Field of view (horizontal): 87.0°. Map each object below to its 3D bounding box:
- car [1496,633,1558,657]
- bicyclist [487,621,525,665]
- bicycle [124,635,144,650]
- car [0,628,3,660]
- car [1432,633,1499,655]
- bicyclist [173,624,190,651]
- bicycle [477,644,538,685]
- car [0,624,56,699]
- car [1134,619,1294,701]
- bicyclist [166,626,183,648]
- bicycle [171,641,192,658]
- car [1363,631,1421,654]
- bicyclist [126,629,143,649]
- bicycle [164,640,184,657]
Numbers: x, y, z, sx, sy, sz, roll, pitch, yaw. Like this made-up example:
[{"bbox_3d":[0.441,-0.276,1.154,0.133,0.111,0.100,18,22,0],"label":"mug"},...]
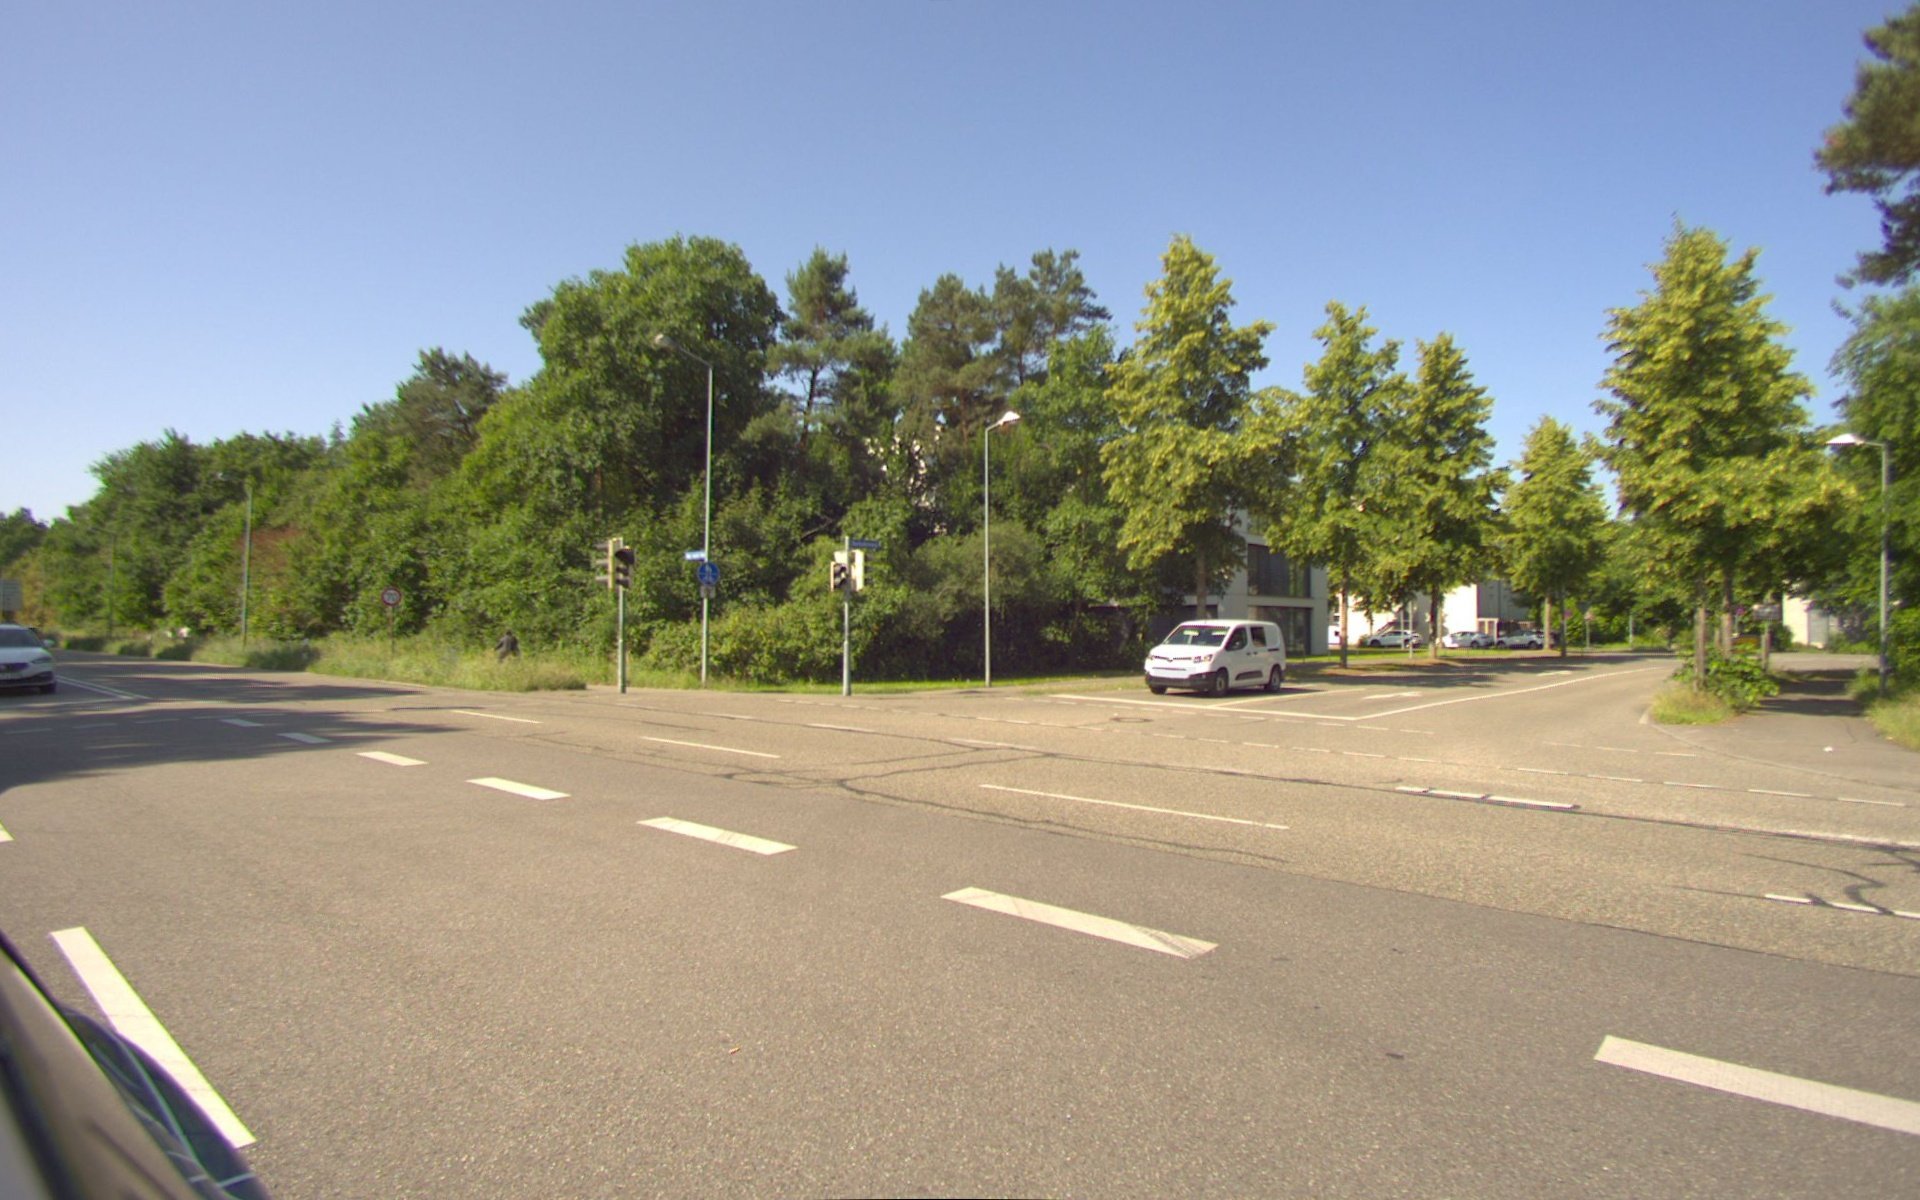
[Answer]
[{"bbox_3d":[41.491,3.247,74.132,1.572,1.575,3.719,-1,0,-25],"label":"car"},{"bbox_3d":[-13.747,1.293,30.651,0.883,1.321,0.714,-2,-2,39],"label":"bicyclist"},{"bbox_3d":[-55.598,2.876,68.136,1.911,0.963,0.668,-1,0,39],"label":"bicycle"},{"bbox_3d":[-54.378,2.389,55.932,4.390,1.710,1.772,-1,-3,42],"label":"car"},{"bbox_3d":[38.991,3.345,78.066,1.748,1.497,4.282,-1,0,-39],"label":"car"},{"bbox_3d":[-43.884,2.108,57.061,0.945,1.477,0.604,-1,0,43],"label":"bicyclist"},{"bbox_3d":[-13.714,1.938,30.619,2.371,1.172,0.725,-2,-2,40],"label":"bicycle"},{"bbox_3d":[-20.371,1.264,21.128,4.421,1.435,1.765,-2,-1,42],"label":"car"},{"bbox_3d":[6.243,1.413,24.493,1.852,1.791,4.596,-1,-3,42],"label":"car"},{"bbox_3d":[-46.837,2.203,60.314,0.727,1.273,0.693,-1,0,43],"label":"bicyclist"},{"bbox_3d":[-43.831,2.787,56.992,2.139,0.921,0.597,-2,-2,43],"label":"bicycle"},{"bbox_3d":[35.199,3.416,82.475,3.997,1.741,1.973,-1,0,40],"label":"car"},{"bbox_3d":[-55.584,2.611,68.121,0.974,1.352,0.668,-1,0,39],"label":"bicyclist"},{"bbox_3d":[-46.780,2.869,60.236,2.139,0.965,0.597,-2,-2,43],"label":"bicycle"}]
